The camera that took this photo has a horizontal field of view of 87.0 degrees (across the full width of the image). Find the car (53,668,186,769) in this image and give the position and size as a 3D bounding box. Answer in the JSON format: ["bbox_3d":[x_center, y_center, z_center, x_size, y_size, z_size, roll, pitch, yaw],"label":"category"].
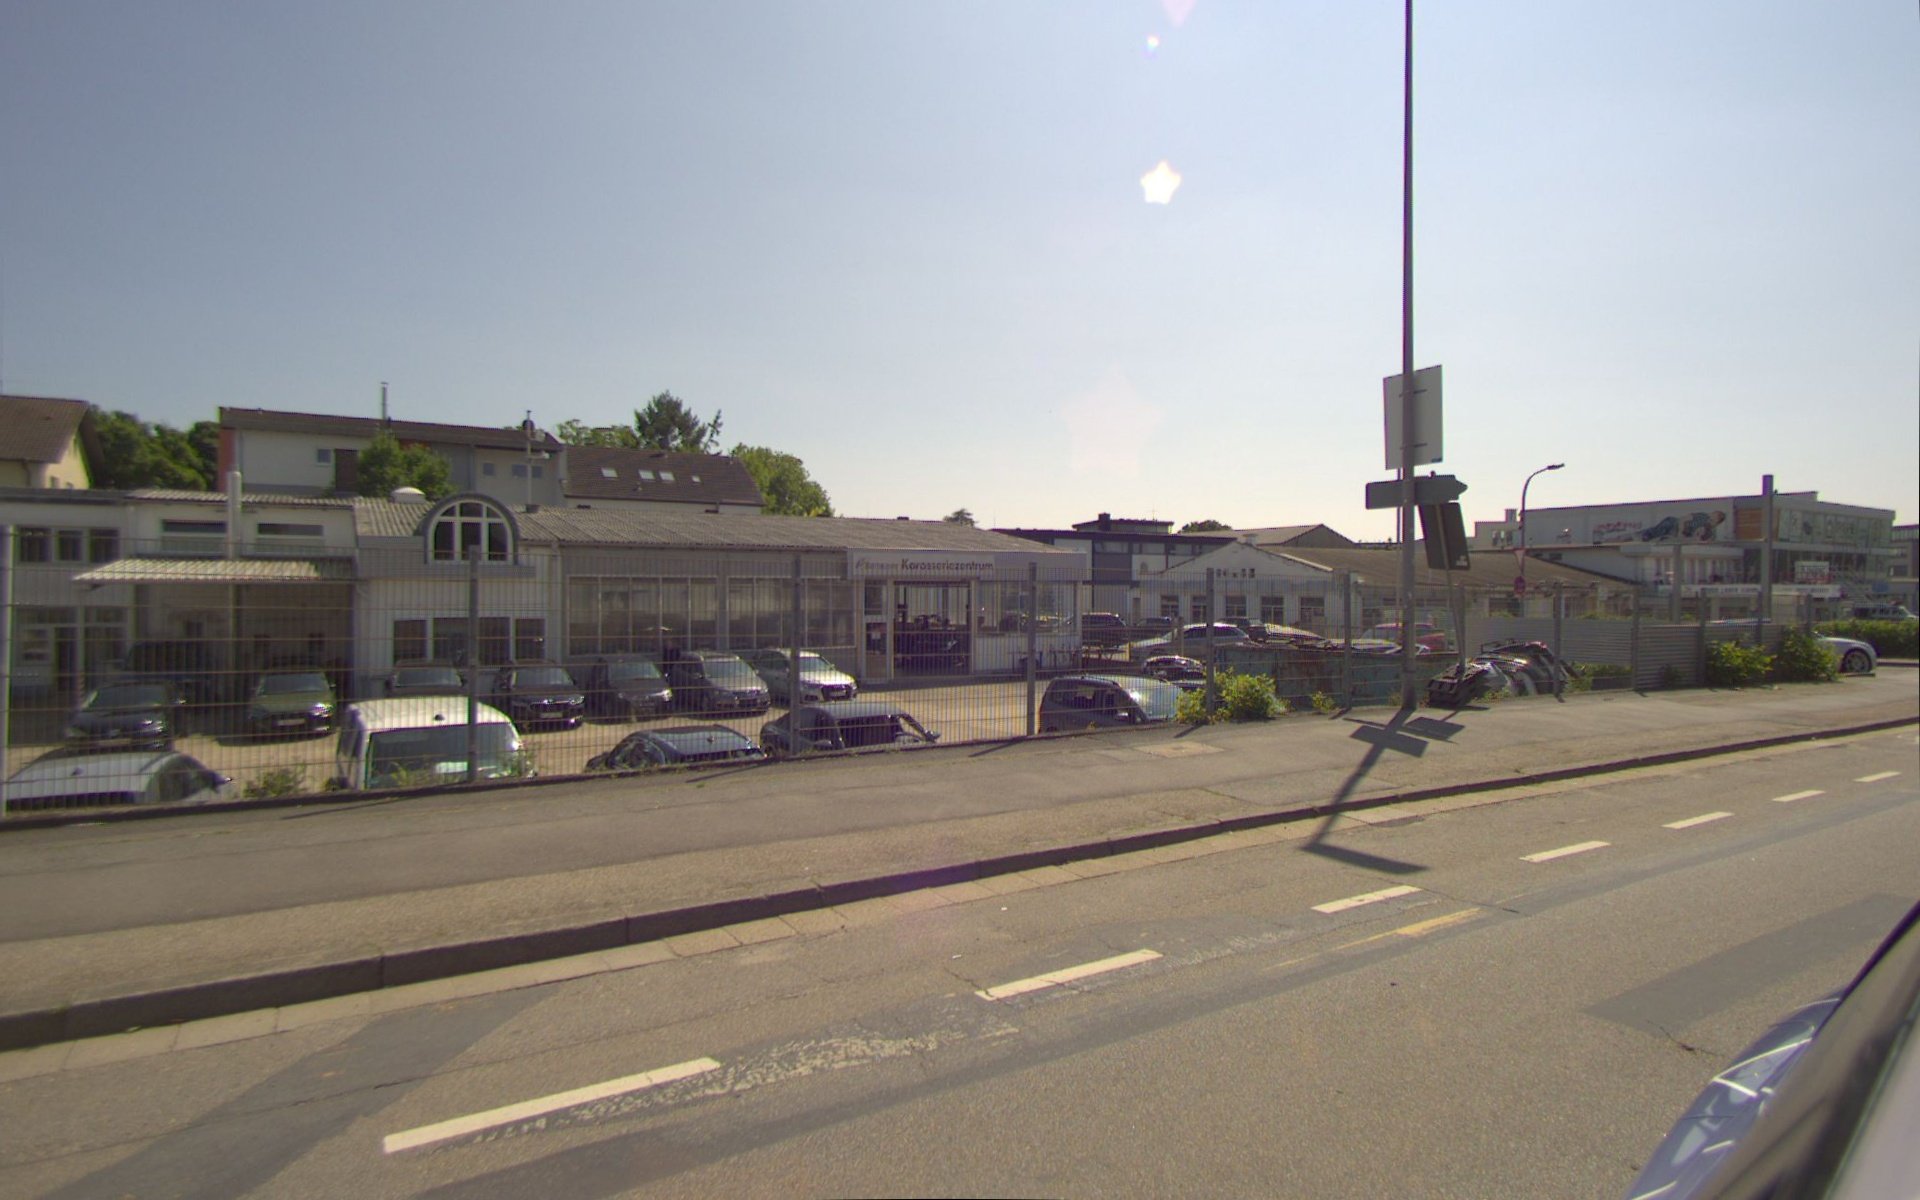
[{"bbox_3d":[-17.960,2.442,21.801,1.810,1.534,4.001,-2,2,-34],"label":"car"}]

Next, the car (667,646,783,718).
[{"bbox_3d":[-6.655,2.231,28.392,1.812,1.534,4.001,-2,2,-34],"label":"car"}]

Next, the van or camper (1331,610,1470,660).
[{"bbox_3d":[13.771,1.088,31.590,4.147,1.369,1.999,1,-6,-34],"label":"van or camper"}]

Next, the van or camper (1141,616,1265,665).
[{"bbox_3d":[9.193,1.514,38.524,4.144,1.561,2.004,-1,5,-5],"label":"van or camper"}]

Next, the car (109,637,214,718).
[{"bbox_3d":[-21.288,1.992,27.115,1.879,1.880,4.000,0,-1,-34],"label":"car"}]

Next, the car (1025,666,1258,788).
[{"bbox_3d":[3.153,2.166,18.315,1.961,1.672,4.001,0,0,-33],"label":"car"}]

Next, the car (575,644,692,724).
[{"bbox_3d":[-9.013,2.211,27.719,1.962,1.682,4.001,-2,2,-34],"label":"car"}]

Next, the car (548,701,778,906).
[{"bbox_3d":[-4.189,2.550,13.819,1.961,2.040,4.000,0,-2,-33],"label":"car"}]

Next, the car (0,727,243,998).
[{"bbox_3d":[-9.176,2.634,11.202,1.815,2.040,4.000,0,-2,-33],"label":"car"}]

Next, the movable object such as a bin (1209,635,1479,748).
[{"bbox_3d":[7.880,1.814,21.350,1.961,2.040,5.133,0,-3,-32],"label":"movable object such as a bin"}]

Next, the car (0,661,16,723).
[{"bbox_3d":[-28.207,2.665,28.353,1.962,1.727,3.999,-2,-1,-35],"label":"car"}]

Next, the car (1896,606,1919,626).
[{"bbox_3d":[86.233,1.424,89.986,1.962,1.755,4.118,1,0,-36],"label":"car"}]

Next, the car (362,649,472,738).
[{"bbox_3d":[-13.428,2.203,24.917,1.962,1.682,4.001,1,1,-34],"label":"car"}]

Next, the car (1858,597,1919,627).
[{"bbox_3d":[81.238,1.015,87.302,2.282,2.449,5.313,1,0,-36],"label":"car"}]

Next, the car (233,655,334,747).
[{"bbox_3d":[-16.010,2.299,24.119,1.826,1.683,4.003,0,1,-32],"label":"car"}]

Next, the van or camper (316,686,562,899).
[{"bbox_3d":[-6.402,2.065,12.161,1.983,1.672,4.325,0,0,-36],"label":"van or camper"}]

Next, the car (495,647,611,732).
[{"bbox_3d":[-10.607,2.227,26.225,1.962,1.682,4.001,-2,2,-34],"label":"car"}]

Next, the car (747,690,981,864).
[{"bbox_3d":[-1.612,2.533,15.600,1.961,2.040,4.000,0,-2,-33],"label":"car"}]

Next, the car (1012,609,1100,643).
[{"bbox_3d":[4.372,1.195,46.557,3.750,1.483,1.795,-1,-2,-3],"label":"car"}]

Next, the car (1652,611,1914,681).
[{"bbox_3d":[18.878,1.066,23.364,4.409,1.376,1.958,-2,-3,-2],"label":"car"}]

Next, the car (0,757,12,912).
[{"bbox_3d":[-11.880,2.808,10.315,1.958,1.854,4.006,0,-2,-23],"label":"car"}]

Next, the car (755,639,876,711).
[{"bbox_3d":[-4.346,2.138,29.956,1.962,1.682,4.001,-2,2,-34],"label":"car"}]
